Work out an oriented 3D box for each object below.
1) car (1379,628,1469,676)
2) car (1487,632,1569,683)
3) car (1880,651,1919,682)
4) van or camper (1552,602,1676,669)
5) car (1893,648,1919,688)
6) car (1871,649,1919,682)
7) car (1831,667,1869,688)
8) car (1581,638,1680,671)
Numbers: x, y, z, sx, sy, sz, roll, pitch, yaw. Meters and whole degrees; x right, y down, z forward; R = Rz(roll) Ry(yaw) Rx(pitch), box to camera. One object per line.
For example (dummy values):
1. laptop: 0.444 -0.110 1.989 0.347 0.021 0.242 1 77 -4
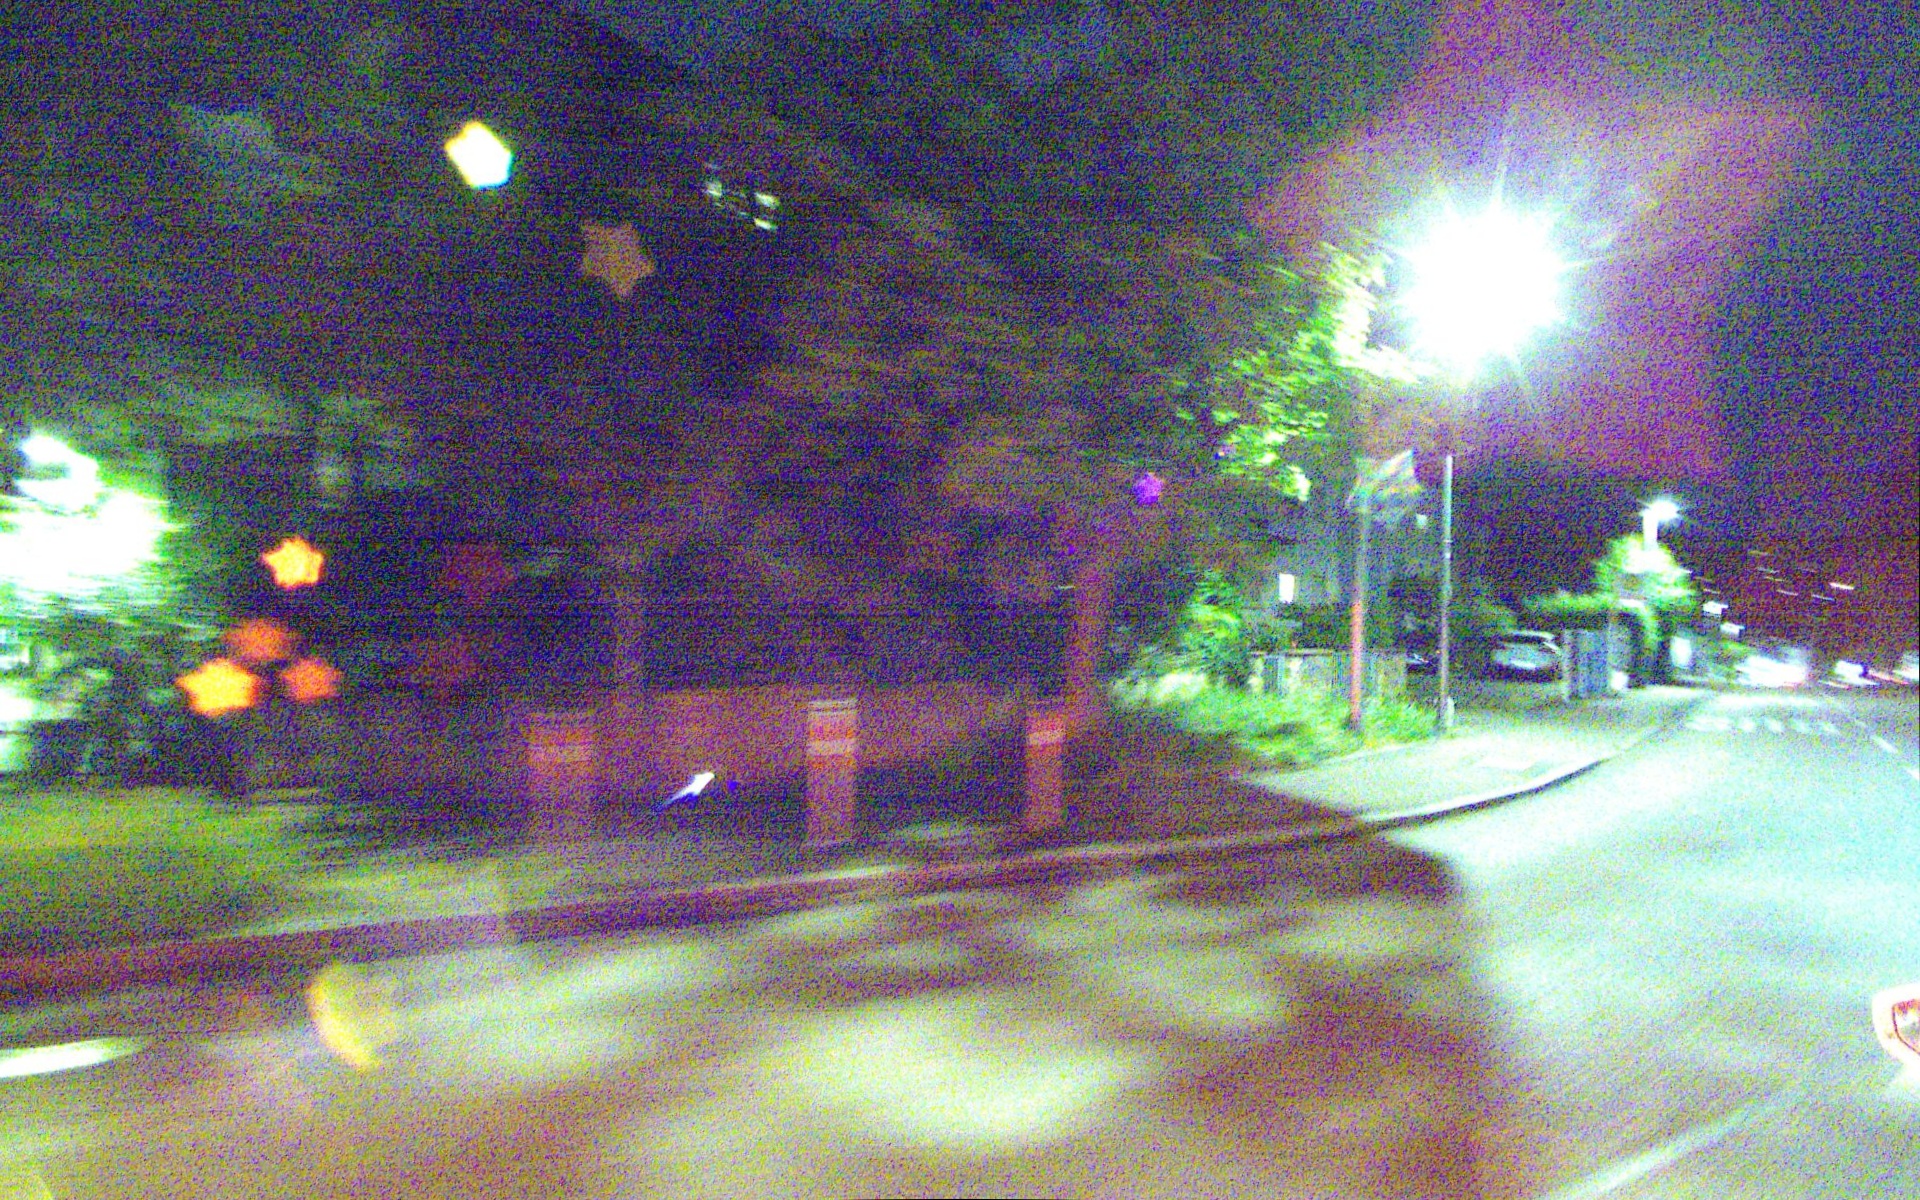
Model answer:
1. car: 15.587 1.716 33.663 1.826 1.446 3.983 1 -1 39
2. car: 18.079 1.783 31.915 1.948 1.458 3.989 1 -1 34
3. car: 48.523 3.433 51.452 1.722 1.490 4.239 2 -2 39
4. van or camper: 34.363 1.864 52.984 5.320 3.150 2.130 2 -5 30
5. car: 45.156 3.214 47.145 1.698 1.784 4.736 1 -2 40
6. car: 51.957 3.662 55.876 1.811 1.685 4.596 0 -4 41
7. car: 70.028 6.092 79.092 1.740 1.495 4.263 3 -2 36
8. car: 37.032 3.027 55.546 4.366 1.634 2.056 0 -4 41
